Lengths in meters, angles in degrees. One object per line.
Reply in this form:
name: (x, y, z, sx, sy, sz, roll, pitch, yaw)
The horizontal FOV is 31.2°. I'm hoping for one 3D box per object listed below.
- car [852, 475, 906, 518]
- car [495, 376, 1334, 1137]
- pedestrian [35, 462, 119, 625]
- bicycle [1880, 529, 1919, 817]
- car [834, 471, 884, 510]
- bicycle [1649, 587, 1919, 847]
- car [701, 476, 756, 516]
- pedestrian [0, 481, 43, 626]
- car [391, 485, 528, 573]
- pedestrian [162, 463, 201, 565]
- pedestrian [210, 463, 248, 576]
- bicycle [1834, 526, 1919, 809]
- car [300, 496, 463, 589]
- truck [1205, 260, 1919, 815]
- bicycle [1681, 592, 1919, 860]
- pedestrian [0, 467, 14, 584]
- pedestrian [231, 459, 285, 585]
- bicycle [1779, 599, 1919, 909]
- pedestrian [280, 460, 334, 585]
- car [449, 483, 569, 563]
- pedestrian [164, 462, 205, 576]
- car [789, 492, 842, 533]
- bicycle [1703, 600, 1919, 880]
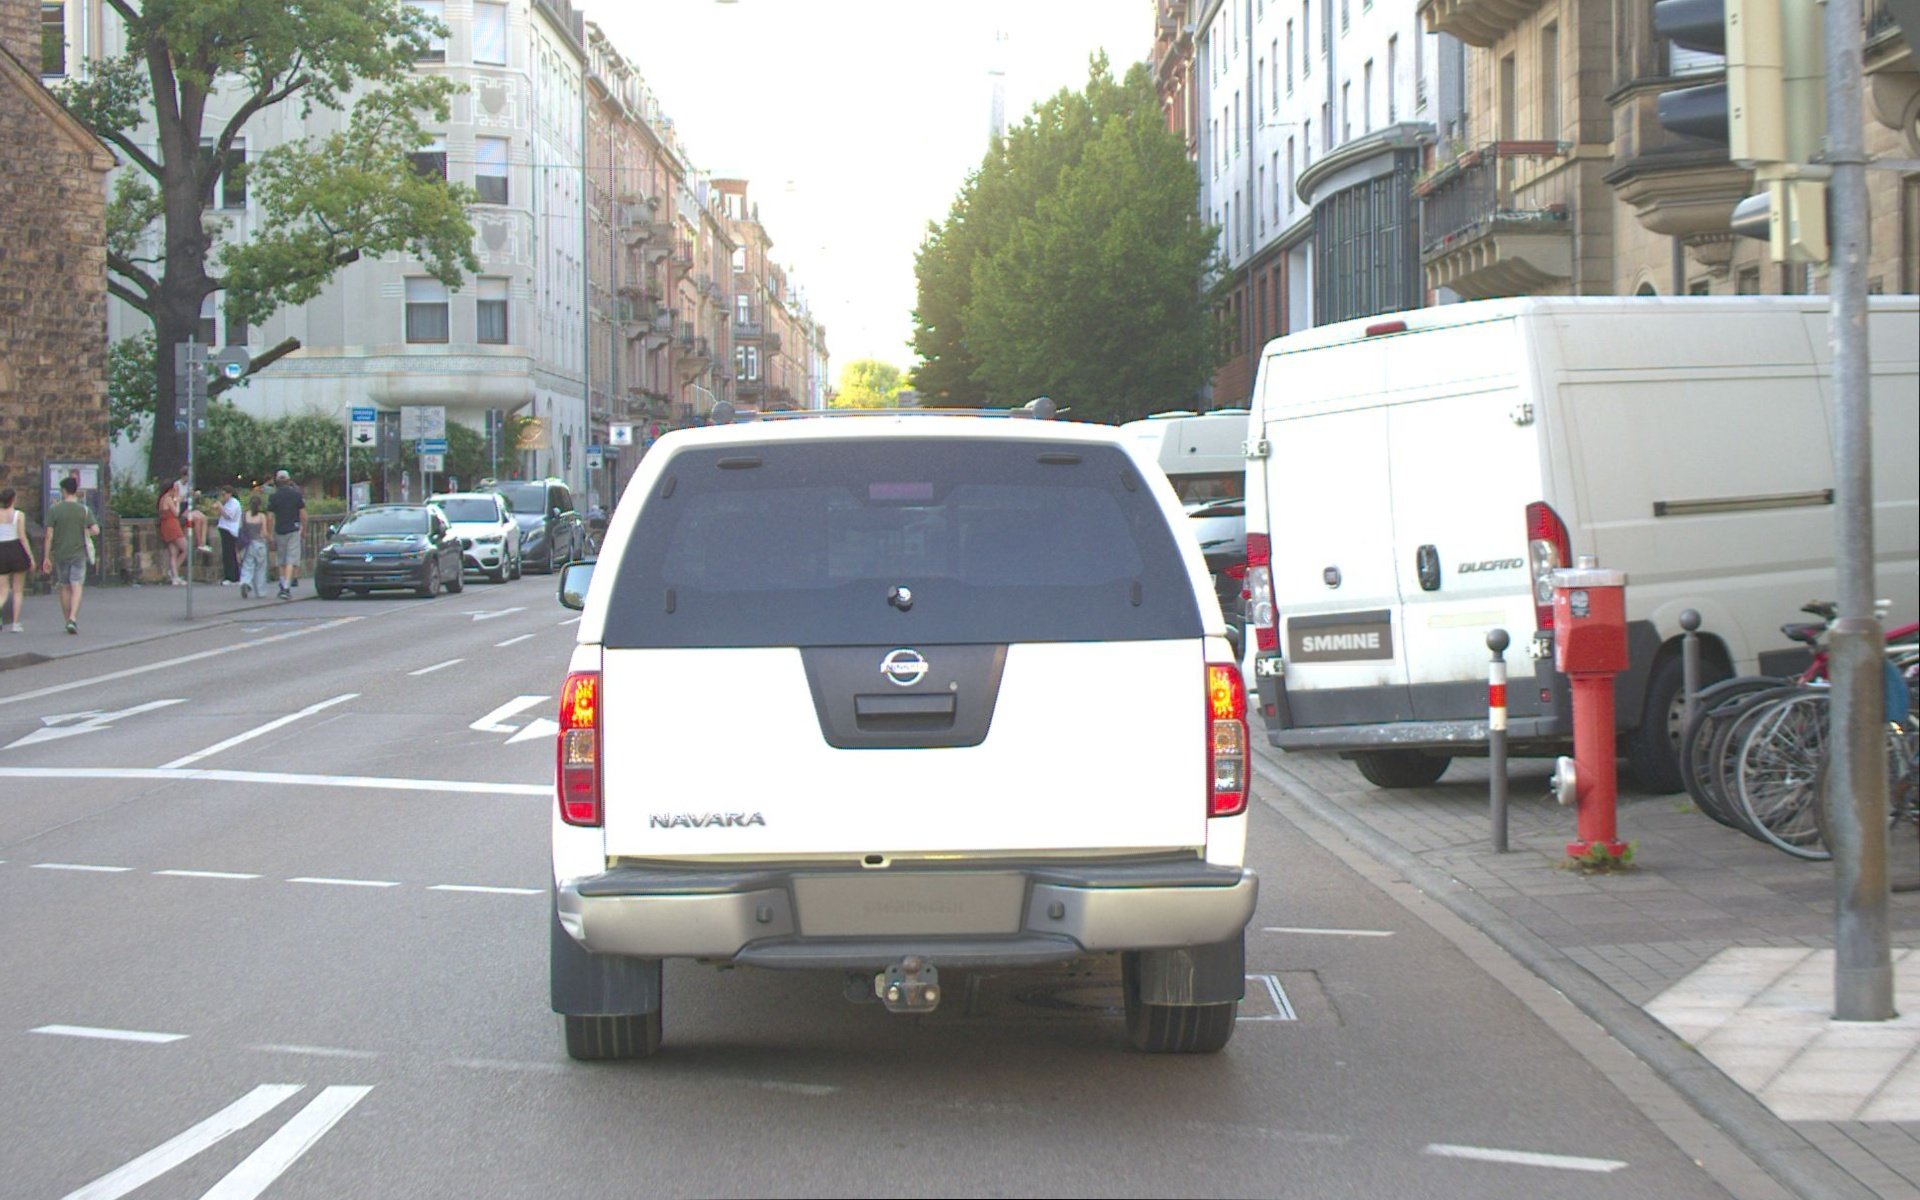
car: (-2.980, -3.797, 126.567, 1.858, 1.524, 4.000, 1, 2, 0)
car: (-0.081, 0.322, 10.255, 1.993, 1.803, 4.000, 1, 2, 1)
pedestrian: (-10.372, -0.666, 40.407, 0.812, 1.894, 0.666, 1, 1, -1)
bicycle: (5.014, 0.261, 15.015, 1.817, 1.233, 0.410, -4, 1, -1)
car: (-4.023, -4.361, 136.897, 1.920, 1.524, 4.001, 0, 2, -2)
bicycle: (3.669, 0.487, 14.683, 1.333, 1.020, 0.317, -4, 1, -1)
car: (-9.036, -4.074, 134.671, 1.858, 1.524, 4.000, 1, 2, 0)
pedestrian: (-11.223, -0.552, 40.142, 0.812, 1.664, 0.860, 1, 1, -1)
car: (-8.990, -1.295, 61.982, 1.858, 1.524, 4.000, 1, 2, 0)
pedestrian: (-12.894, -1.425, 56.976, 0.560, 1.689, 0.645, 0, 1, -7)
pedestrian: (-12.045, -1.326, 56.663, 0.560, 1.849, 0.645, 0, 1, -7)
bicycle: (4.980, 0.248, 15.547, 1.855, 1.233, 0.531, -4, 1, -1)
car: (-9.001, -0.923, 53.791, 1.858, 1.393, 4.000, 1, 2, 0)
truck: (4.121, -0.370, 18.602, 5.658, 2.556, 2.287, -1, 2, -42)
bicycle: (3.709, 0.501, 14.135, 1.371, 1.020, 0.317, -4, 1, -1)
pedestrian: (-14.209, -1.089, 50.174, 0.643, 1.689, 0.562, 1, 1, 0)
pedestrian: (-10.450, -1.160, 51.169, 0.642, 1.849, 0.562, 0, 2, -28)
bicycle: (3.914, 0.518, 12.533, 1.726, 1.079, 0.317, -4, 1, -1)
pedestrian: (-9.772, -1.160, 51.423, 0.642, 1.849, 0.562, 0, 2, -28)
car: (-8.958, -1.544, 68.561, 1.858, 1.524, 4.000, 1, 2, 0)
pedestrian: (-12.658, -1.317, 56.132, 0.642, 1.849, 0.562, 0, 1, -13)
car: (-5.534, -3.375, 131.926, 1.858, 1.524, 4.000, 1, 2, 0)
bicycle: (3.505, 0.534, 13.429, 1.077, 1.020, 0.317, -4, 1, -1)
